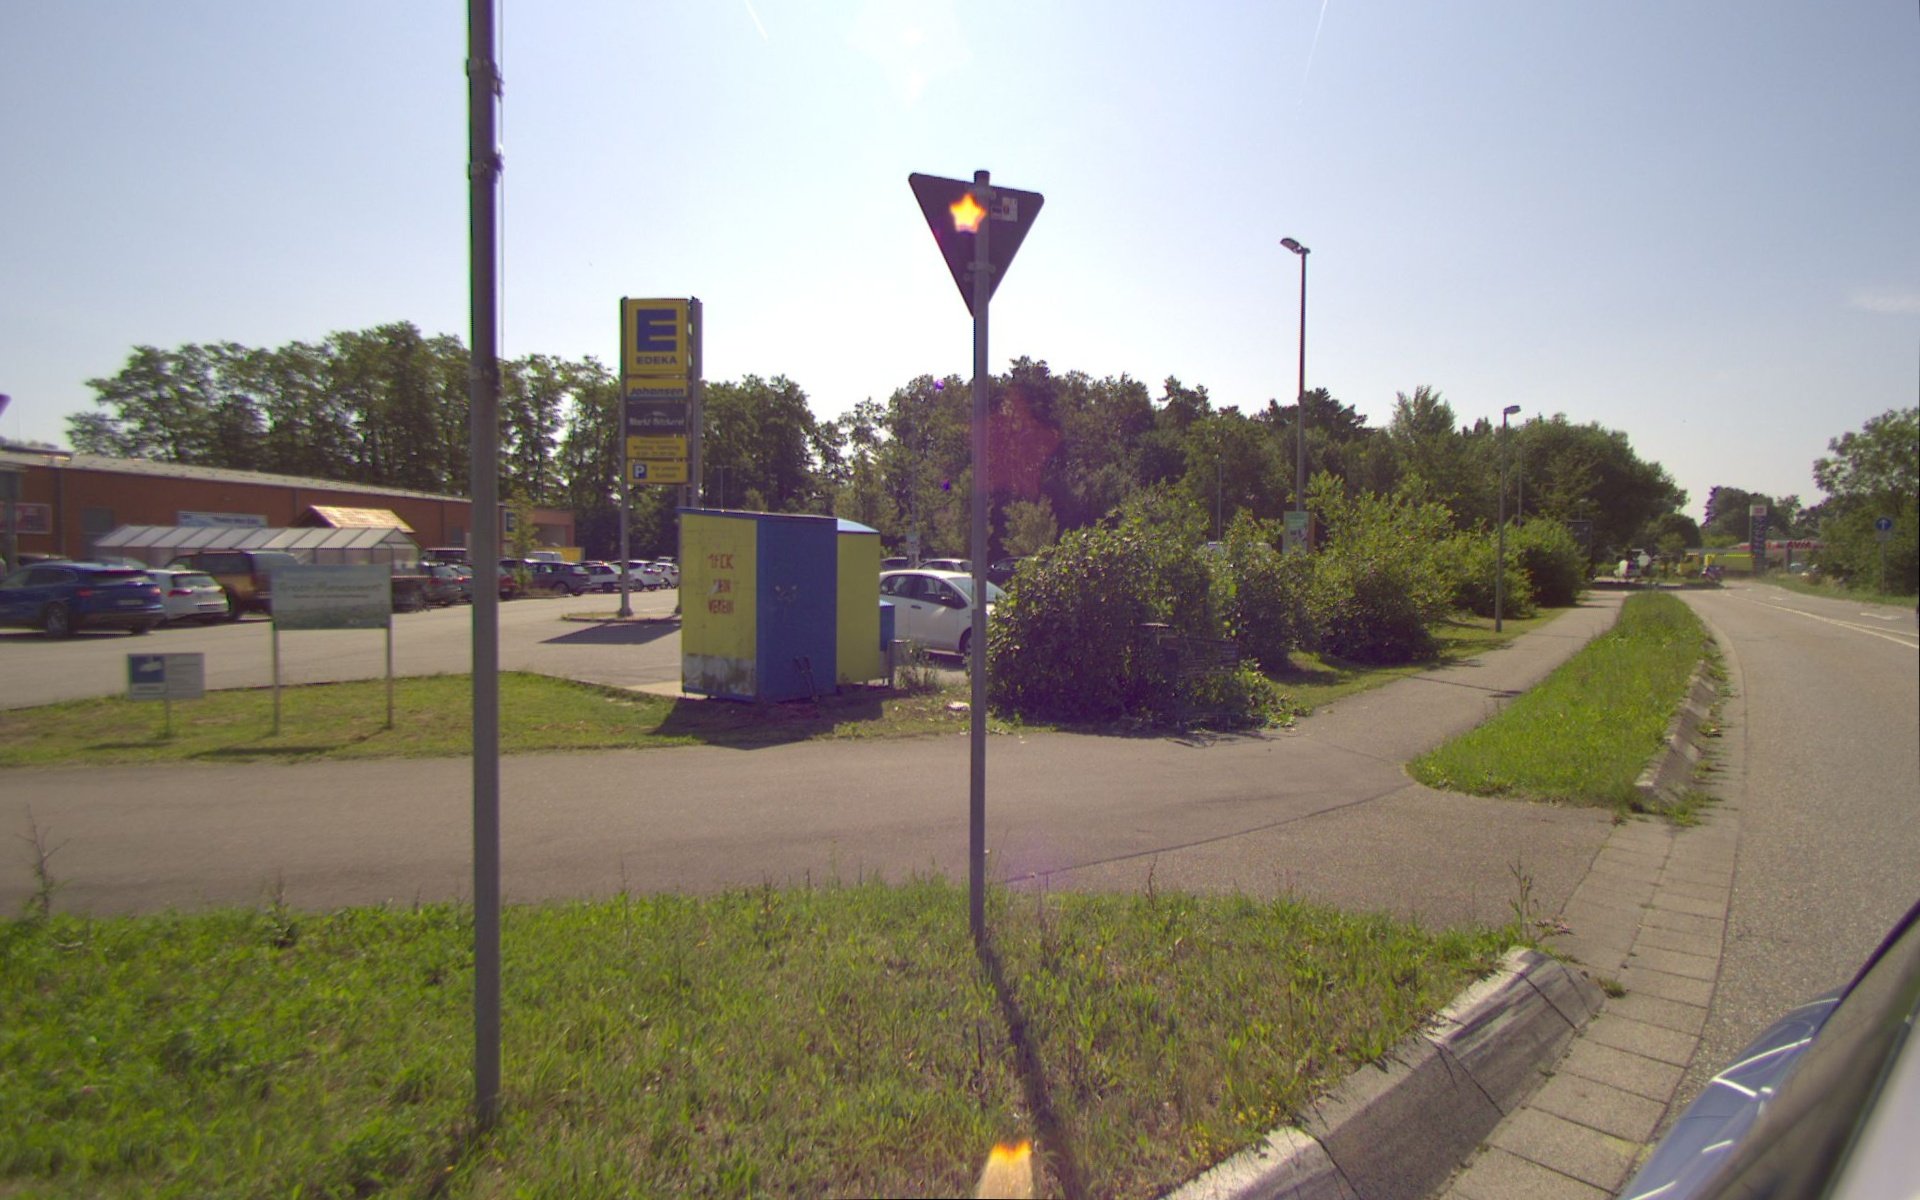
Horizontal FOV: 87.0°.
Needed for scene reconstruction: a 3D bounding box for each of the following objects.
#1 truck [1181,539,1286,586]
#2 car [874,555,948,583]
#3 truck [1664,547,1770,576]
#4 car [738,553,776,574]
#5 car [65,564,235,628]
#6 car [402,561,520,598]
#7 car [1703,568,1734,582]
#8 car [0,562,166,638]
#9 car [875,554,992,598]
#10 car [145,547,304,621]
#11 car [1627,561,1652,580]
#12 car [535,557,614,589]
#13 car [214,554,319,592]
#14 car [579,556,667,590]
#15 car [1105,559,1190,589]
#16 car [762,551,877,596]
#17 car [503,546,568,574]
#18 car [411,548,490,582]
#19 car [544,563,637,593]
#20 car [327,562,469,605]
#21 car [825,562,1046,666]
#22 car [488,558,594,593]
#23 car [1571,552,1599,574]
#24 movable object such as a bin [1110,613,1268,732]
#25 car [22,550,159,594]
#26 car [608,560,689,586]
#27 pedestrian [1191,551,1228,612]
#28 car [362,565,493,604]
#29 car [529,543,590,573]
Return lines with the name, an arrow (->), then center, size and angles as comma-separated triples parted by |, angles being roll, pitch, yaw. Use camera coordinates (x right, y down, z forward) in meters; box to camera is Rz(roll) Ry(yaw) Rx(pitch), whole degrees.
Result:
truck -> 16.091, -2.232, 59.620 | 5.580, 2.637, 2.177 | 2, 3, 34
car -> -2.851, -1.817, 59.157 | 3.940, 1.604, 1.964 | 1, 2, 13
truck -> 95.539, -4.877, 128.057 | 10.265, 3.435, 3.841 | 2, 3, 33
car -> -17.343, -3.167, 86.555 | 1.911, 1.732, 3.992 | 1, 2, 9
car -> -20.592, -0.137, 25.757 | 3.443, 1.516, 1.708 | 1, 1, 16
car -> -19.864, -0.820, 40.341 | 3.932, 1.415, 1.712 | 0, 2, 8
car -> 78.187, -2.614, 104.368 | 1.687, 1.406, 4.256 | 1, 2, 26
car -> -20.219, -0.049, 22.671 | 4.369, 1.591, 1.707 | 1, 1, 18
car -> -0.959, -0.879, 35.928 | 3.972, 1.460, 1.631 | 2, 2, 34
car -> -20.489, -0.465, 28.241 | 3.443, 1.953, 1.870 | 1, 1, 16
car -> 88.807, -3.880, 132.329 | 1.898, 2.430, 4.868 | 1, 2, 25
car -> -22.454, -1.595, 59.041 | 3.934, 1.779, 1.801 | 1, 2, 9
car -> -34.177, -1.328, 49.934 | 3.928, 1.838, 1.998 | 0, 1, 5
car -> -17.537, -1.412, 52.759 | 3.941, 1.682, 1.992 | 1, 2, 14
car -> 9.511, -1.346, 51.366 | 3.933, 1.471, 1.889 | 2, 2, 25
car -> -5.986, -1.139, 43.308 | 4.484, 1.723, 1.996 | -1, 2, 9
car -> -30.929, -2.907, 73.813 | 3.938, 2.038, 1.994 | 1, 1, 12
car -> -31.411, -2.169, 62.479 | 3.935, 2.038, 1.995 | 1, 2, 10
car -> -18.366, -1.112, 50.391 | 3.941, 1.371, 1.992 | 1, 2, 14
car -> -19.524, -0.594, 35.248 | 3.933, 1.437, 1.978 | 0, 1, 9
car -> -0.474, 0.162, 17.937 | 3.586, 1.581, 1.790 | 3, 3, 37
car -> -18.534, -1.083, 44.853 | 3.931, 1.504, 1.965 | 1, 2, 7
car -> 81.778, -4.811, 132.424 | 2.651, 2.846, 5.105 | 1, 2, 27
movable object such as a bin -> 2.452, 0.737, 10.860 | 1.425, 1.134, 0.872 | -1, 2, -27
car -> -34.984, -1.147, 40.774 | 3.928, 1.704, 1.998 | 1, 2, 4
car -> -17.388, -1.521, 56.495 | 3.939, 1.415, 1.884 | 0, 2, 13
pedestrian -> 7.642, -0.573, 30.936 | 0.816, 1.819, 0.855 | 2, 2, 37
car -> -19.887, -0.599, 37.909 | 3.931, 1.393, 1.997 | 0, 2, 7
car -> -30.806, -3.198, 77.833 | 3.961, 2.274, 1.994 | 1, 1, 12
